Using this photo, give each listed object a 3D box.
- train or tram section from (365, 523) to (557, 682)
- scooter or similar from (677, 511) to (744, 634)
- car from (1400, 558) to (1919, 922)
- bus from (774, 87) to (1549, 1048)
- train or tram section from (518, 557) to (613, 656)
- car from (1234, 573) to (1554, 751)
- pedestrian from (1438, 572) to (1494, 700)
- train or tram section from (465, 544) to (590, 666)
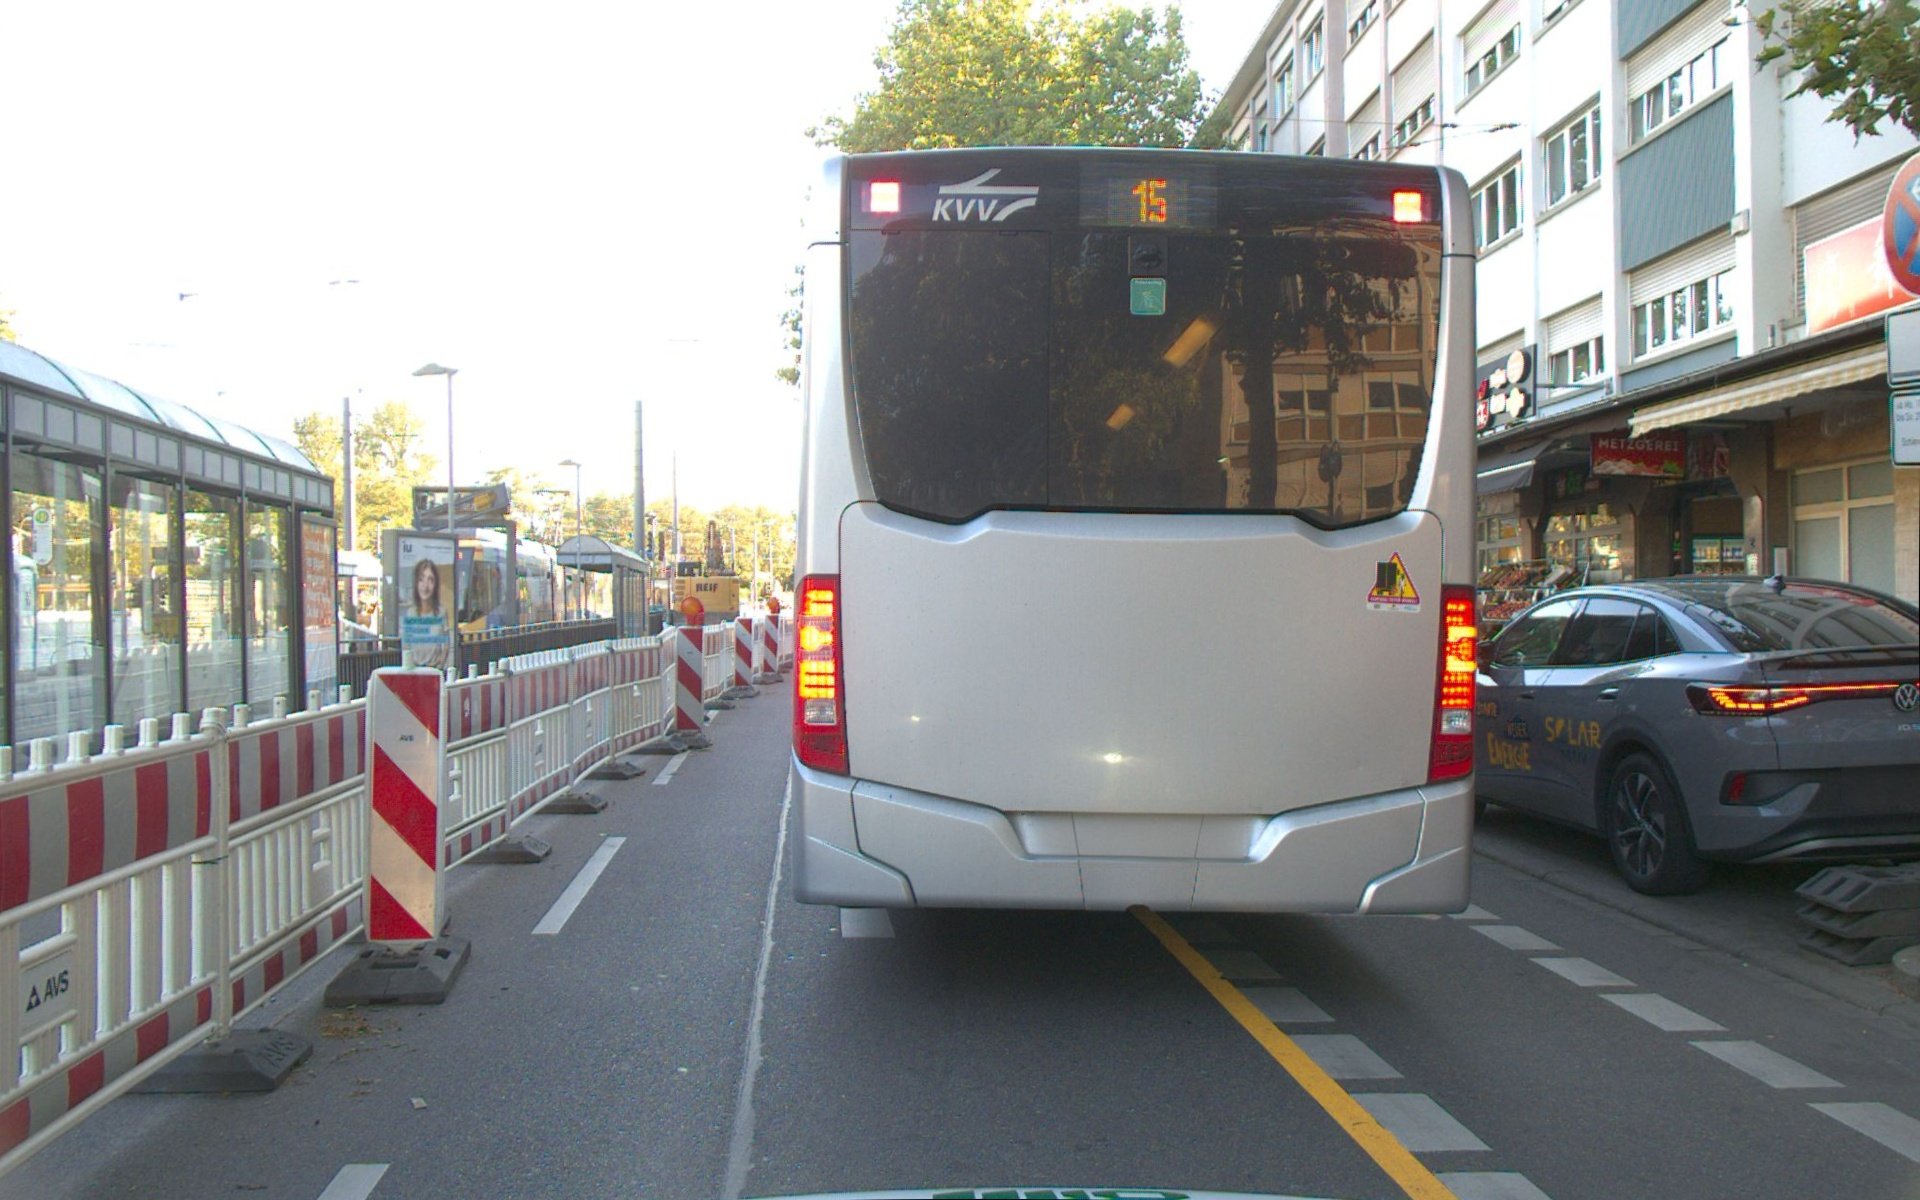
[{"bbox_3d":[-12.871,0.077,43.821,2.635,3.595,11.756,1,0,-6],"label":"train or tram section"},{"bbox_3d":[-9.668,-1.007,64.345,2.422,4.549,5.962,0,0,-8],"label":"scooter or similar"},{"bbox_3d":[4.375,0.611,9.843,1.955,1.609,4.363,-3,1,-5],"label":"car"},{"bbox_3d":[0.635,-0.094,9.564,2.558,3.181,7.991,1,0,-1],"label":"bus"},{"bbox_3d":[-15.771,0.253,66.819,2.636,3.594,11.560,1,0,-8],"label":"train or tram section"},{"bbox_3d":[4.523,0.577,17.998,1.955,1.609,4.363,-3,1,-5],"label":"car"},{"bbox_3d":[6.876,0.484,22.493,0.649,1.696,0.601,-2,-1,15],"label":"pedestrian"},{"bbox_3d":[-14.258,0.176,55.379,2.636,3.621,11.560,1,0,-8],"label":"train or tram section"}]
